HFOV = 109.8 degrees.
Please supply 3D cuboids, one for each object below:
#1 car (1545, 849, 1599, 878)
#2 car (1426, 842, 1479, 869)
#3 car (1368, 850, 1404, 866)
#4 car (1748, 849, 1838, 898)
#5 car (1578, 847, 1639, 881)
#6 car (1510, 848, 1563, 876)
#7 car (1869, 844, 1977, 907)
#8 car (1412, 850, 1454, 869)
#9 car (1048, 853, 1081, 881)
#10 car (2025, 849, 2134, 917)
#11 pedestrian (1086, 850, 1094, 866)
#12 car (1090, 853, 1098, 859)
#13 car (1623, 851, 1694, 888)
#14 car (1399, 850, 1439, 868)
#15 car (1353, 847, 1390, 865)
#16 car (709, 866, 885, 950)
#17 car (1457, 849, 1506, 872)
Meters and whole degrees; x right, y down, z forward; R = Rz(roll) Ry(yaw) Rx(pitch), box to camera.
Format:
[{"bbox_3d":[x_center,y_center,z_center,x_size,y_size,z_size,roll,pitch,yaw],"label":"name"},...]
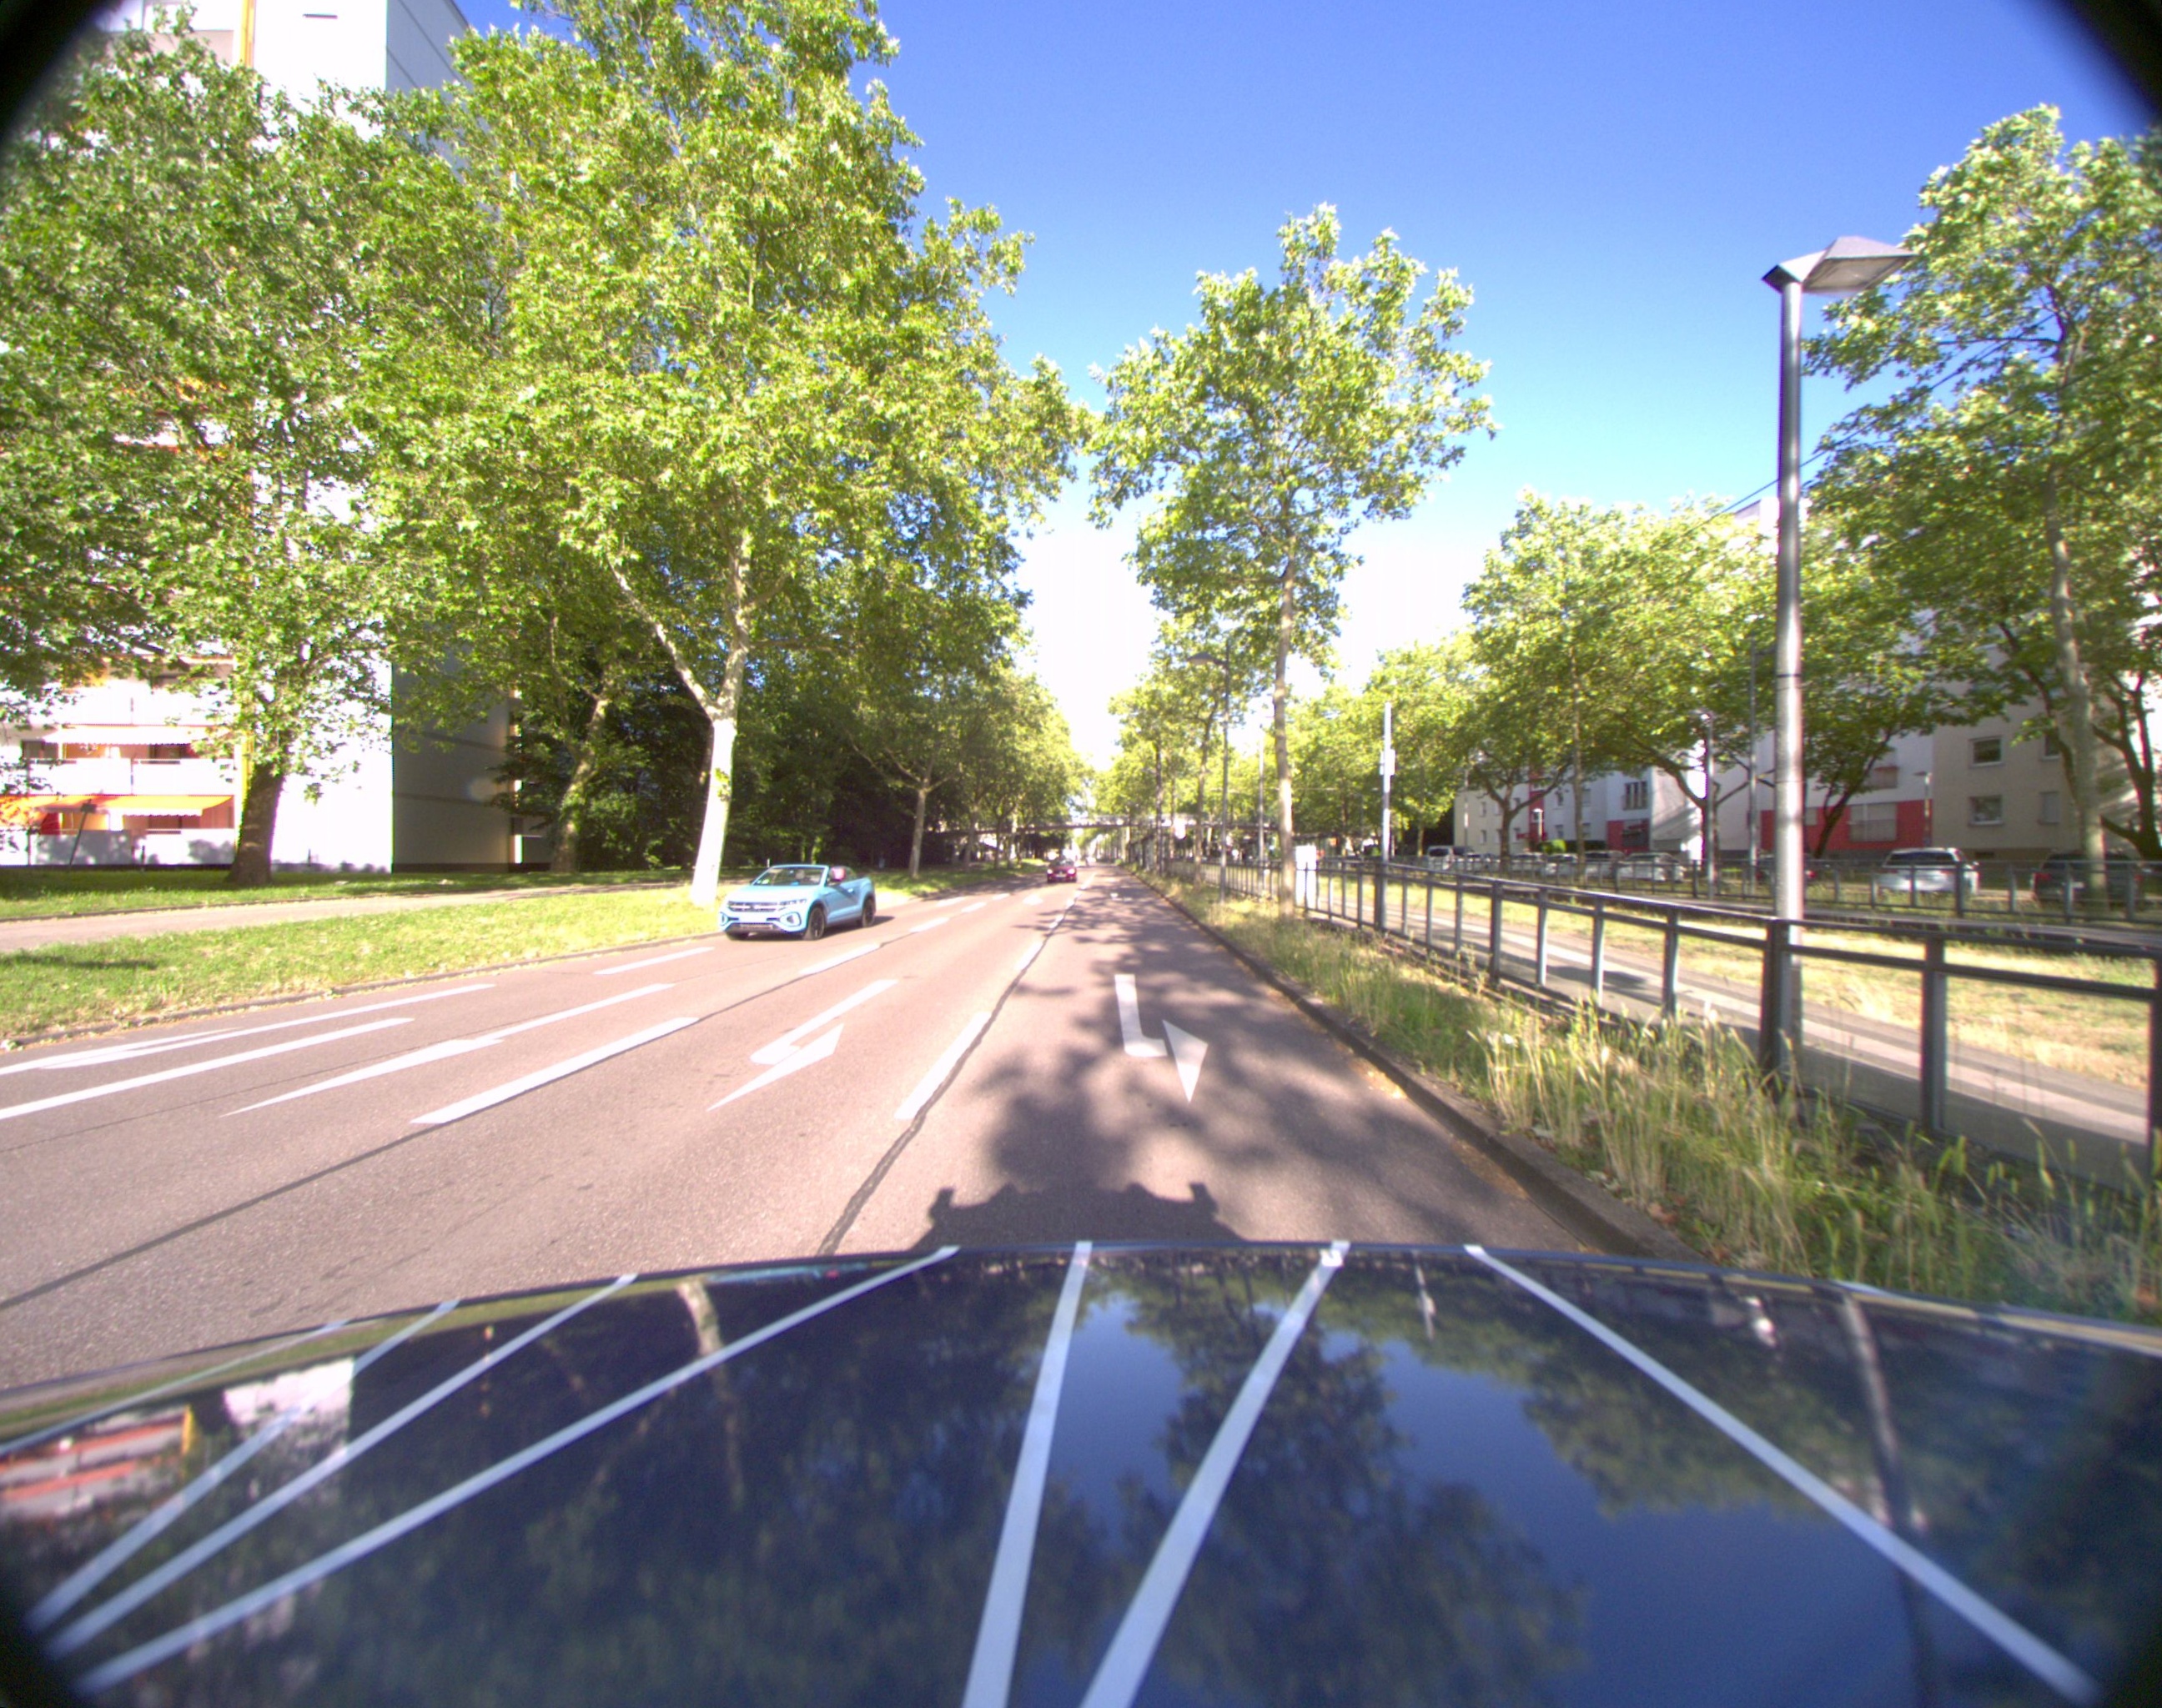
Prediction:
[{"bbox_3d":[26.297,0.489,40.657,3.493,1.321,1.476,-3,0,-41],"label":"car"},{"bbox_3d":[25.961,0.084,53.049,4.056,1.802,1.864,-1,1,-41],"label":"car"},{"bbox_3d":[26.488,0.359,65.935,3.494,1.312,1.476,-1,1,-41],"label":"car"},{"bbox_3d":[25.121,0.633,26.775,4.007,1.479,1.626,-3,1,-37],"label":"car"},{"bbox_3d":[25.986,0.487,37.378,3.402,1.499,1.461,-3,1,-37],"label":"car"},{"bbox_3d":[26.084,0.436,43.469,3.494,1.417,1.558,-3,-1,-42],"label":"car"},{"bbox_3d":[25.249,0.590,22.756,4.007,1.586,1.810,-3,1,-37],"label":"car"},{"bbox_3d":[26.079,0.387,56.215,3.494,1.336,1.476,-1,1,-41],"label":"car"},{"bbox_3d":[-0.921,0.727,44.071,1.646,1.430,3.761,-2,1,3],"label":"car"},{"bbox_3d":[25.118,0.674,19.132,3.770,1.420,1.555,-3,1,-37],"label":"car"},{"bbox_3d":[1.172,0.483,98.487,0.919,2.002,0.962,-2,1,-1],"label":"pedestrian"},{"bbox_3d":[3.138,0.565,189.884,1.798,1.465,3.999,-2,1,-1],"label":"car"},{"bbox_3d":[25.770,0.662,33.852,3.890,1.406,1.486,-3,1,-37],"label":"car"},{"bbox_3d":[26.598,0.392,59.768,3.494,1.293,1.476,-1,1,-41],"label":"car"},{"bbox_3d":[26.483,0.186,69.301,3.835,1.561,1.597,-1,1,-43],"label":"car"},{"bbox_3d":[-5.757,1.028,16.015,1.737,1.442,4.133,-1,1,7],"label":"car"},{"bbox_3d":[26.236,0.399,49.736,3.494,1.395,1.623,-1,1,-41],"label":"car"}]
